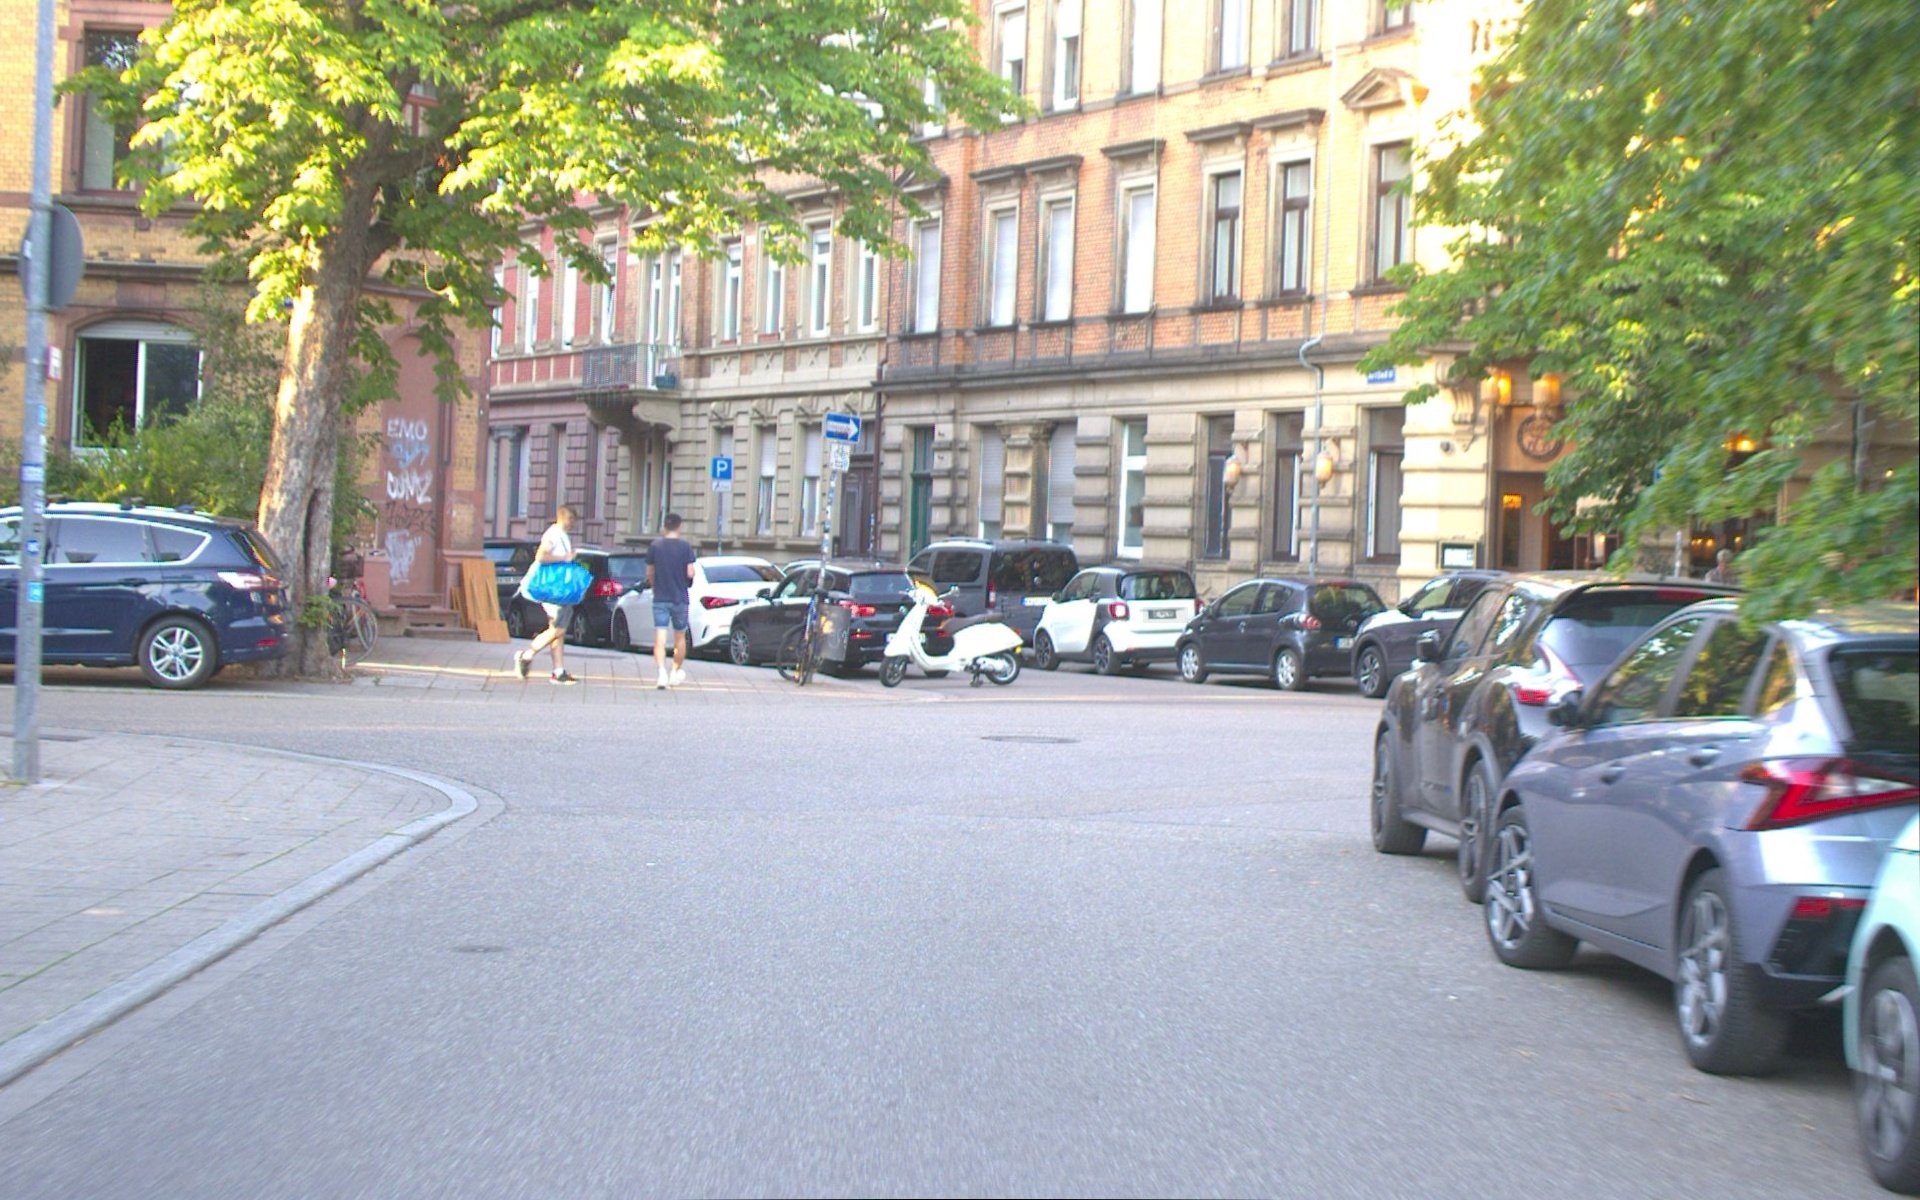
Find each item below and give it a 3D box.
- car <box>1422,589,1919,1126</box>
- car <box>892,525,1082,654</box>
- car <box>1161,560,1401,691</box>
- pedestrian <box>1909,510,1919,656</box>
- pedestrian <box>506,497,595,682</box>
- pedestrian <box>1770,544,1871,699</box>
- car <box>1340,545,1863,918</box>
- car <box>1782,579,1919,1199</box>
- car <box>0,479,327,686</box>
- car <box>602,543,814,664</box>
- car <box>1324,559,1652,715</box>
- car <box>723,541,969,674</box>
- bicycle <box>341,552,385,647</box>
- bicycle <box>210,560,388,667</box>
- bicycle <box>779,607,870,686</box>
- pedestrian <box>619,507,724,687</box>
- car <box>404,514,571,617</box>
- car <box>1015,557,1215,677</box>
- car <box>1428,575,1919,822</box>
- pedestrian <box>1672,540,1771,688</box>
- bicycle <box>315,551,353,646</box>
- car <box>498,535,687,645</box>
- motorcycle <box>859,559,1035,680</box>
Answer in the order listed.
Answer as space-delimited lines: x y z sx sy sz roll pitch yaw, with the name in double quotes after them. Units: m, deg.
2.940 0.751 11.950 1.695 1.472 4.213 2 1 -5 "car"
0.374 -0.178 52.072 1.674 1.776 3.016 2 1 -25 "car"
4.159 0.315 44.990 1.674 1.520 3.244 2 2 -25 "car"
12.277 -0.195 42.262 0.773 1.798 0.843 2 1 -15 "pedestrian"
-4.184 -0.116 35.169 0.815 1.846 0.803 2 1 -5 "pedestrian"
10.281 0.255 41.092 0.773 1.798 0.843 2 1 -15 "pedestrian"
3.019 0.554 16.983 1.695 1.565 3.972 2 1 -1 "car"
3.169 0.735 7.358 1.695 1.472 3.560 2 1 -4 "car"
-8.480 -0.228 32.153 4.828 1.726 1.921 3 2 -6 "car"
-3.580 0.018 48.124 1.654 1.426 4.168 2 2 -23 "car"
6.165 0.404 40.561 1.914 1.520 3.897 2 2 -25 "car"
-1.496 0.069 43.525 1.654 1.426 3.991 2 2 -24 "car"
-6.814 -0.019 39.274 0.319 1.025 1.678 2 2 -5 "bicycle"
-6.686 0.138 34.794 1.671 1.025 0.446 2 2 -24 "bicycle"
-1.497 0.505 38.131 0.425 0.819 1.460 3 2 21 "bicycle"
-2.984 -0.042 35.533 0.735 1.798 1.122 2 2 -21 "pedestrian"
-7.963 -0.600 57.708 1.654 1.519 3.897 2 2 -25 "car"
2.164 0.225 48.593 1.674 1.520 2.768 3 1 -25 "car"
5.207 0.655 23.801 1.880 1.461 3.961 4 2 43 "car"
9.519 0.173 42.995 0.840 1.798 0.776 2 1 -21 "pedestrian"
-7.125 -0.032 39.154 0.242 1.025 1.678 2 2 -5 "bicycle"
-5.642 -0.172 52.402 1.654 1.426 3.897 2 2 -25 "car"
-0.155 0.225 40.244 1.931 1.336 0.577 2 1 -11 "motorcycle"
